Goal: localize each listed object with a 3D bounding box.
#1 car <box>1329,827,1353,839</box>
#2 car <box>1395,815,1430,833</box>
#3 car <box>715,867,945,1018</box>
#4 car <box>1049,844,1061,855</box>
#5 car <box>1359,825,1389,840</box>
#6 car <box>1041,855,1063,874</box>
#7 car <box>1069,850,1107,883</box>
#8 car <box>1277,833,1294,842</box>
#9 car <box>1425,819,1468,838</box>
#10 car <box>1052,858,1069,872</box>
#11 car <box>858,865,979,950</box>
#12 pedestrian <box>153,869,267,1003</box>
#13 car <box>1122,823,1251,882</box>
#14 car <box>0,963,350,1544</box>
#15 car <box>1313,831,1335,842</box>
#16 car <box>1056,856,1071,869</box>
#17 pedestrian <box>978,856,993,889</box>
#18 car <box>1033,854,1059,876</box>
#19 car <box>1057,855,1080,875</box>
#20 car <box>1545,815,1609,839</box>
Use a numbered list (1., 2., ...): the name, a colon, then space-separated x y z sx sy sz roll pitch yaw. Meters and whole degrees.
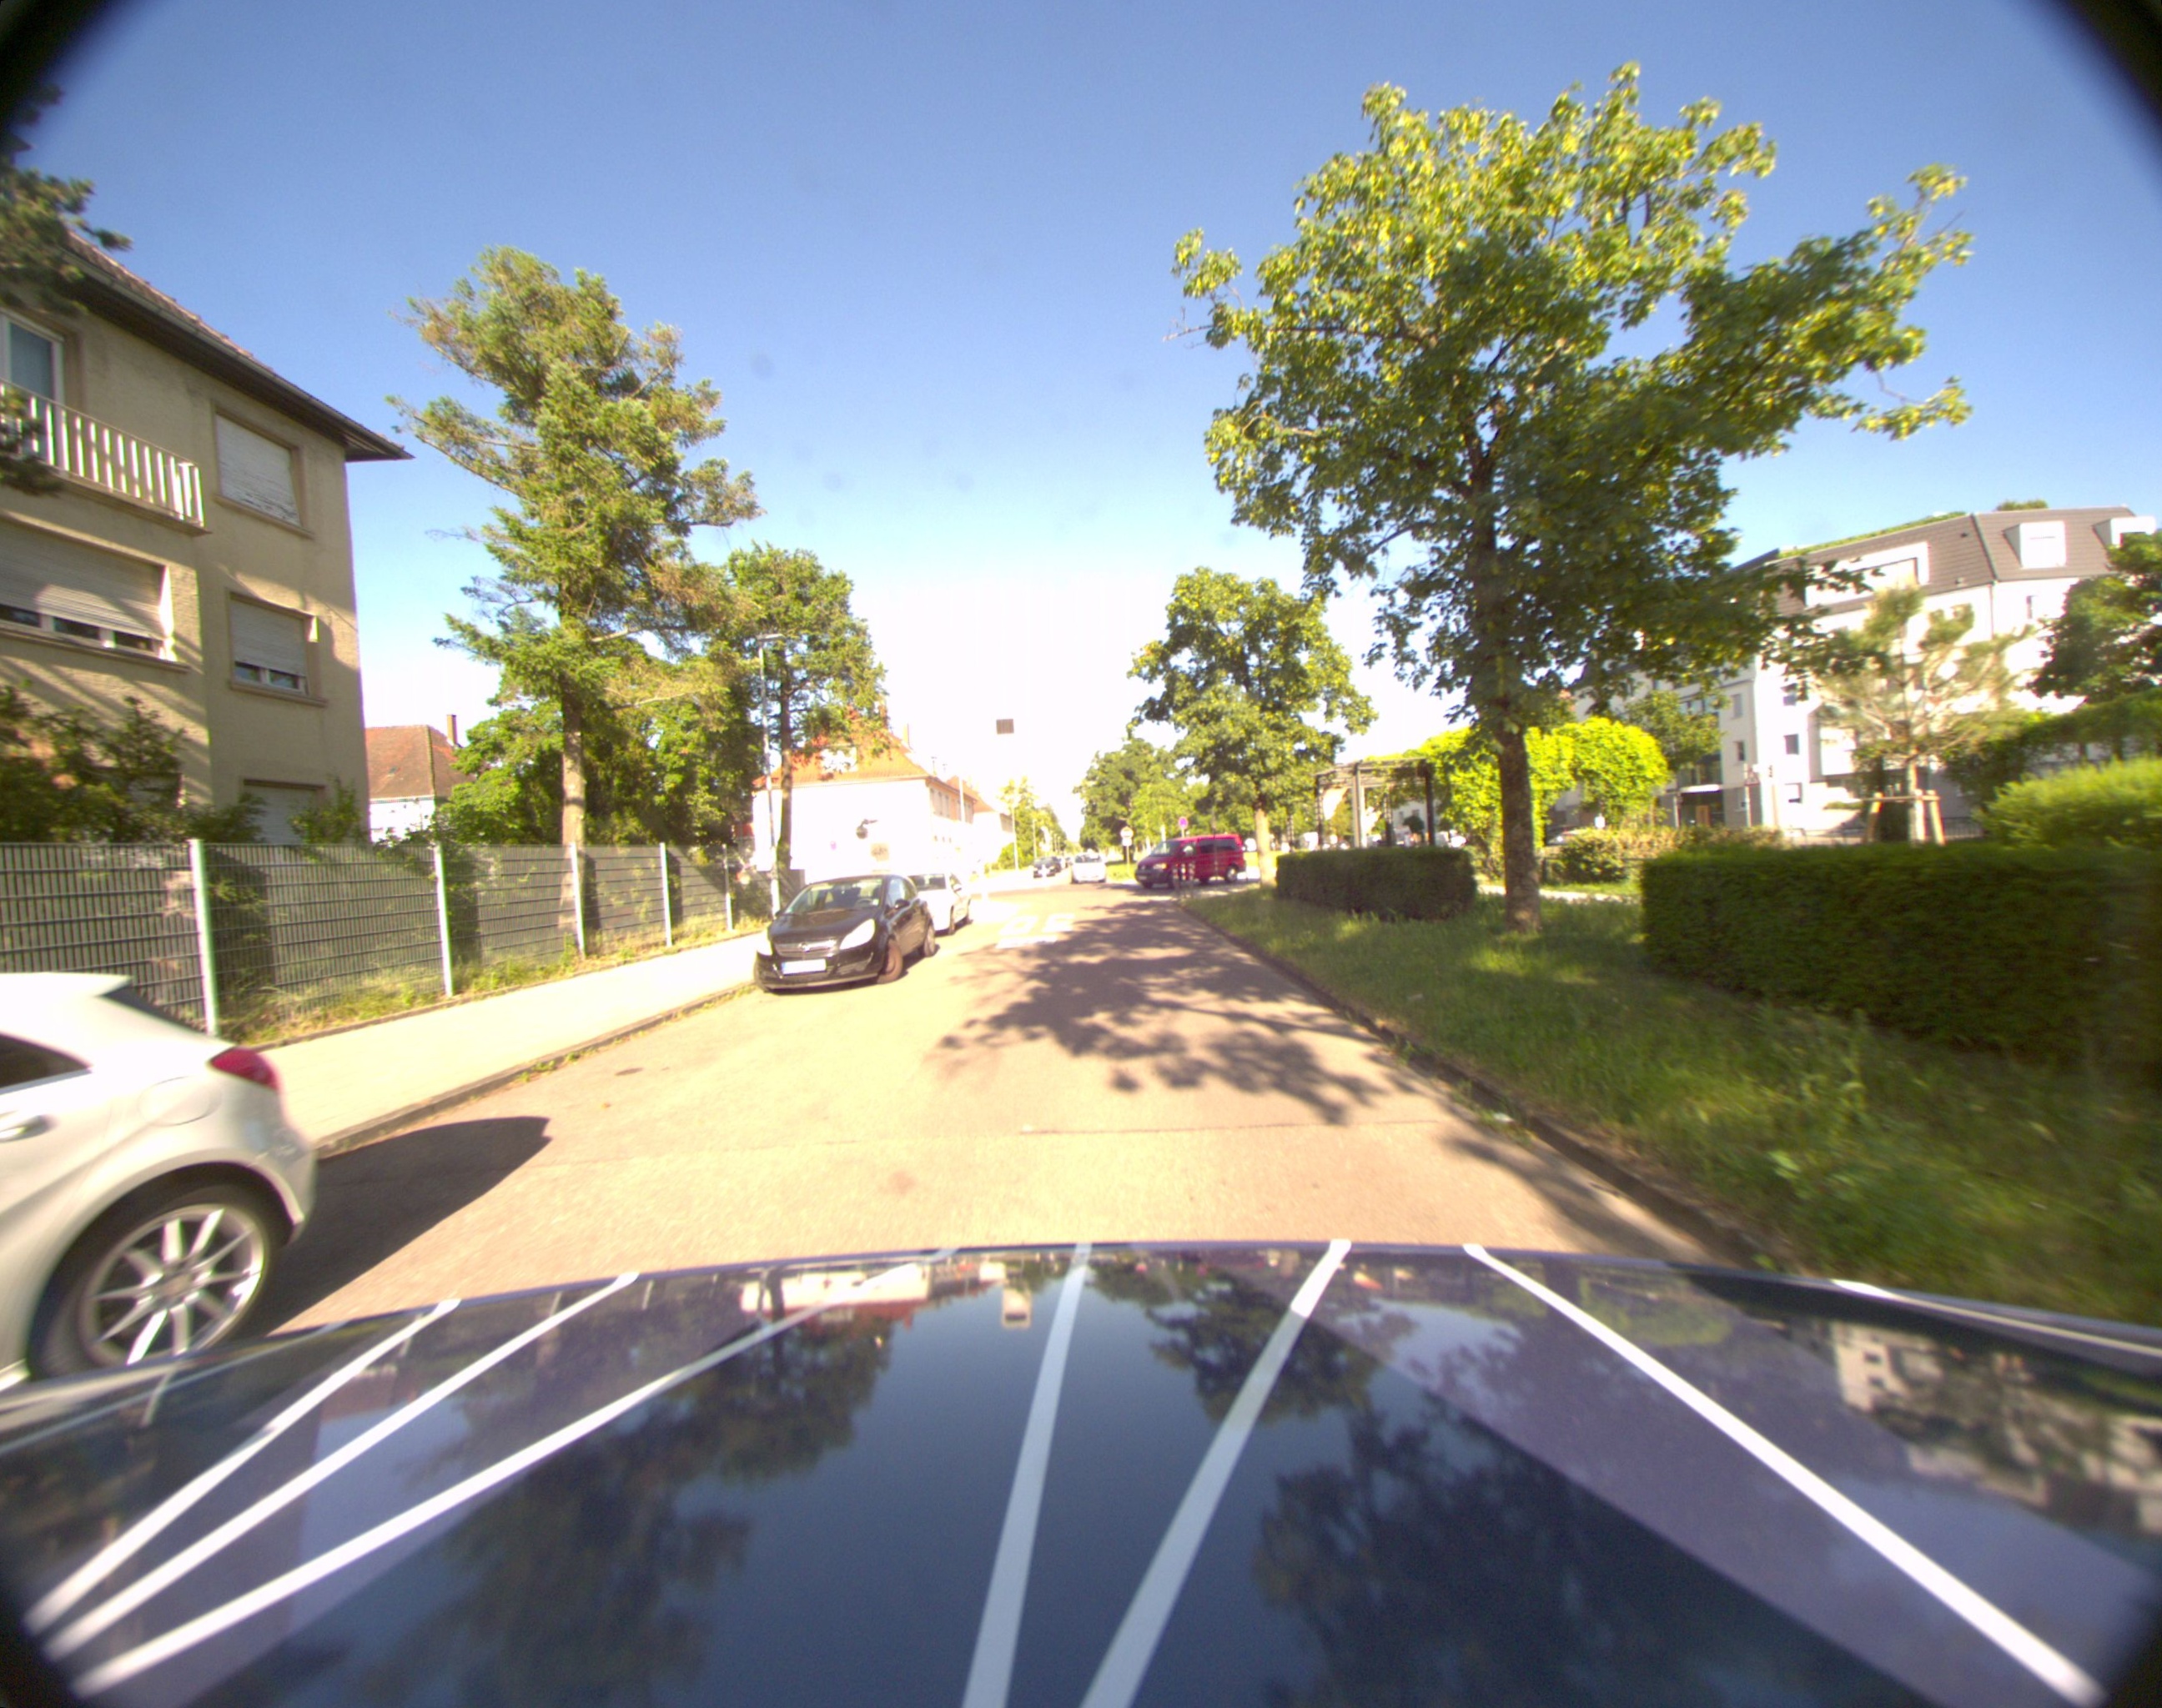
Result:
1. car: 34.480 -2.731 100.894 1.799 1.502 3.999 -3 1 0
2. car: 34.459 -3.098 79.118 1.799 1.665 3.999 -3 1 0
3. car: -3.327 1.082 10.986 1.799 1.502 3.994 -6 1 1
4. car: -4.209 -0.695 123.580 1.799 1.529 4.000 -4 0 0
5. car: 34.561 -2.548 89.790 1.799 1.604 4.405 -3 1 0
6. car: -2.705 0.971 70.897 1.799 1.529 4.000 -4 0 0
7. car: 0.368 0.634 39.807 1.799 1.524 4.000 -4 0 0
8. car: 35.068 -2.849 130.109 1.799 1.502 3.999 -3 1 0
9. car: 34.161 -2.361 71.136 2.057 1.684 4.406 -3 1 3
10. car: -2.464 1.288 91.483 1.799 1.529 4.000 -4 0 0
11. car: -3.529 1.108 17.284 1.676 1.414 4.133 -6 1 1
12. pedestrian: -11.354 1.051 9.919 0.649 1.652 0.651 -4 1 17
13. car: 4.340 -0.079 30.966 4.850 2.001 2.089 -5 2 -31
14. car: -3.870 1.249 0.838 1.799 1.413 4.288 -6 1 1
15. car: 34.679 -2.495 108.429 1.799 1.502 3.999 -3 1 0
16. car: -2.349 1.109 101.541 1.799 1.529 4.000 -4 0 0
17. pedestrian: -4.948 0.946 39.300 0.650 1.658 0.649 -3 3 -5
18. car: -2.760 0.859 60.610 1.799 1.529 4.000 -4 0 0
19. car: -1.045 0.897 65.120 1.799 1.529 4.000 -4 0 0
20. car: 34.298 -1.823 52.683 1.799 1.502 3.999 -3 1 0
